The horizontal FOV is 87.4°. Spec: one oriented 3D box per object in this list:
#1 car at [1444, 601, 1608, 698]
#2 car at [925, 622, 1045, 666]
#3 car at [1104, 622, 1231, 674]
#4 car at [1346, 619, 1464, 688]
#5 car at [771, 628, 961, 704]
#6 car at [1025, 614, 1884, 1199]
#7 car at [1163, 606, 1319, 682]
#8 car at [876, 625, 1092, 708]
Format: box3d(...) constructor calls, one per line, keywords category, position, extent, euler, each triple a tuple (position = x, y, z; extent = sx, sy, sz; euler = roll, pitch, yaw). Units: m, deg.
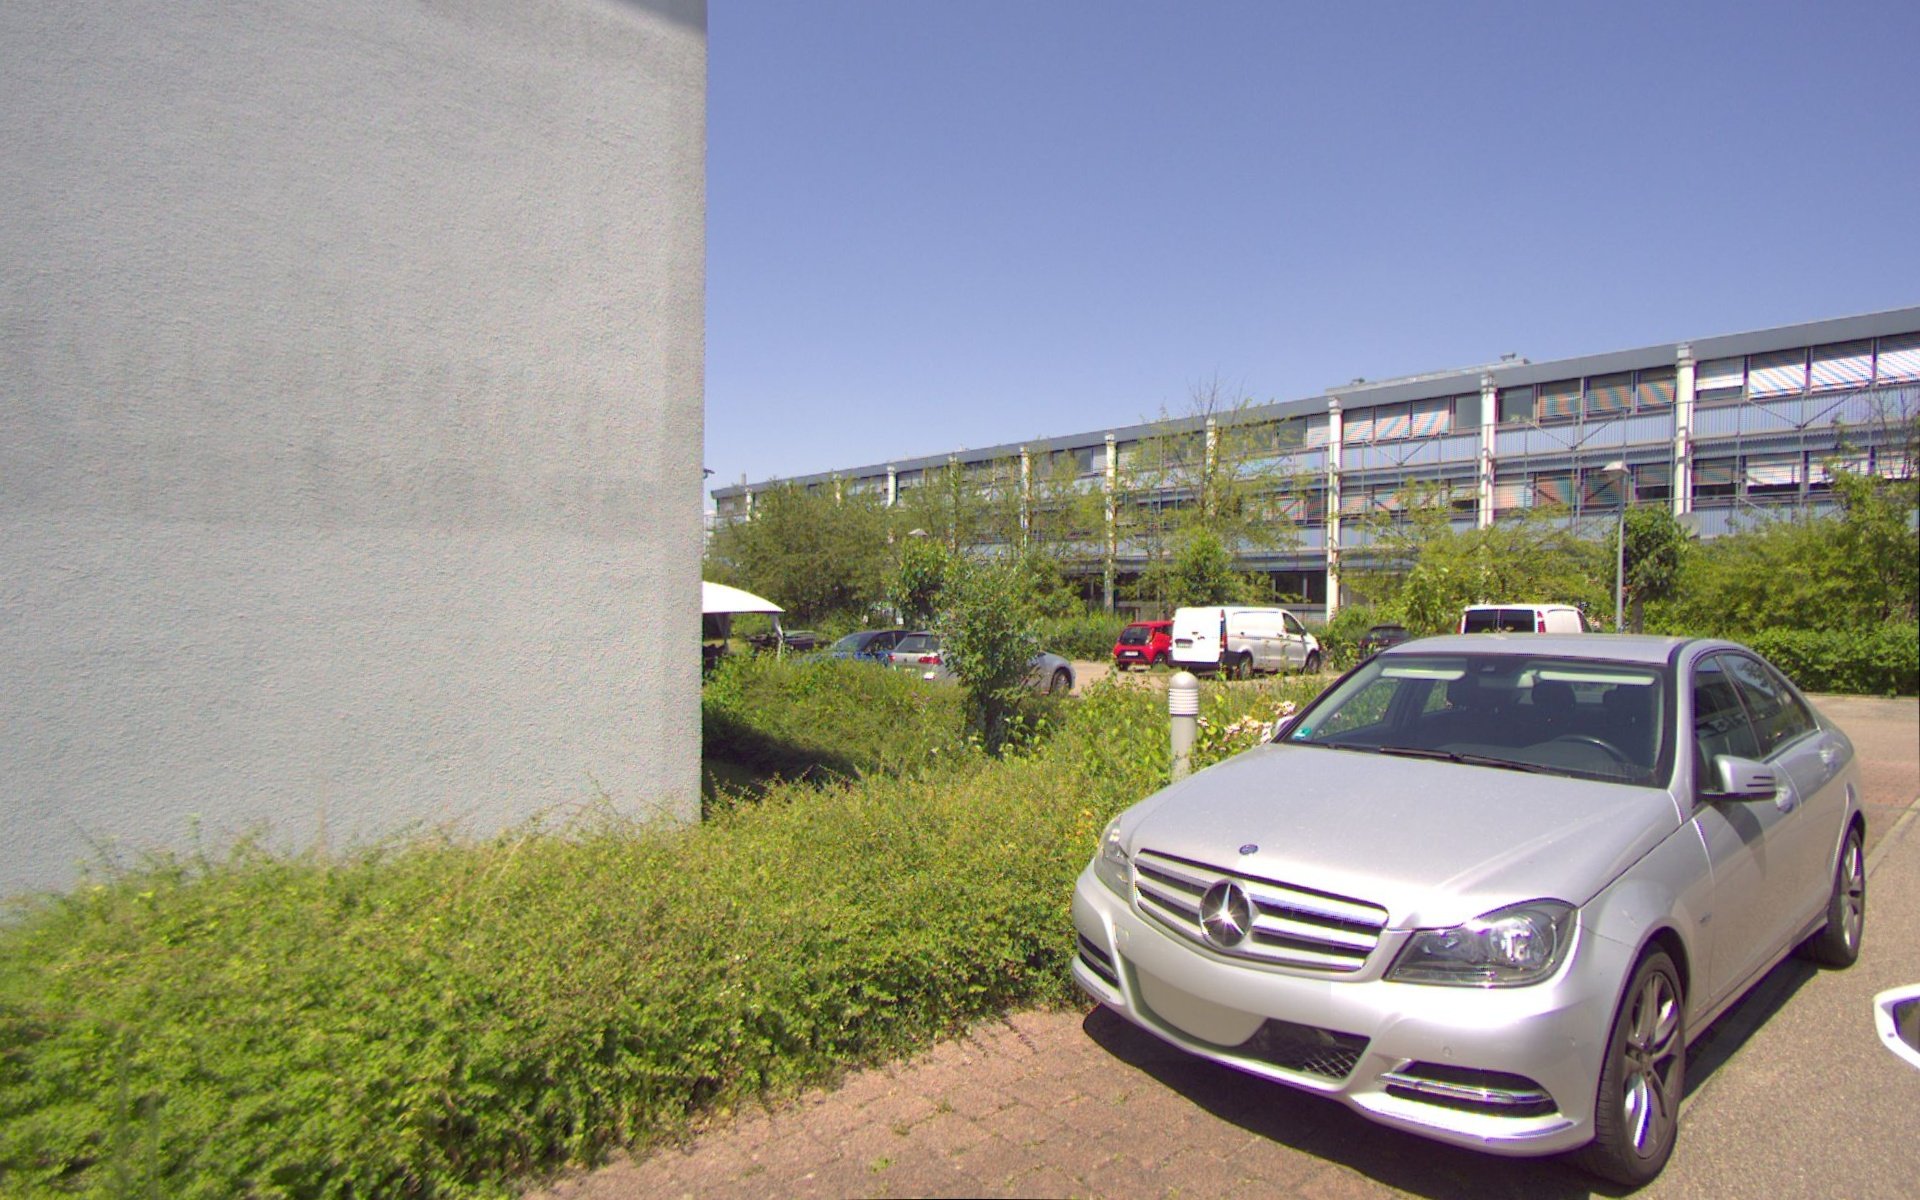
box3d(category="car", position=(12.654, 1.010, 22.322), extent=(4.775, 1.930, 1.894), euler=(0, -1, -44))
box3d(category="car", position=(0.932, 1.540, 36.150), extent=(4.136, 1.425, 1.852), euler=(1, -1, -40))
box3d(category="car", position=(6.369, 1.419, 30.690), extent=(3.968, 1.460, 1.767), euler=(1, -1, -40))
box3d(category="car", position=(10.982, 1.242, 24.670), extent=(1.733, 1.496, 3.983), euler=(-1, -1, 38))
box3d(category="car", position=(-2.126, 1.438, 23.168), extent=(3.967, 1.481, 1.977), euler=(-1, 0, -40))
box3d(category="car", position=(2.343, 0.826, 4.190), extent=(4.113, 1.476, 1.715), euler=(2, -2, -40))
box3d(category="car", position=(7.773, 1.121, 27.556), extent=(4.766, 1.916, 1.865), euler=(0, 0, -41))
box3d(category="car", position=(0.582, 1.276, 20.656), extent=(4.452, 1.492, 1.839), euler=(1, -1, -43))
